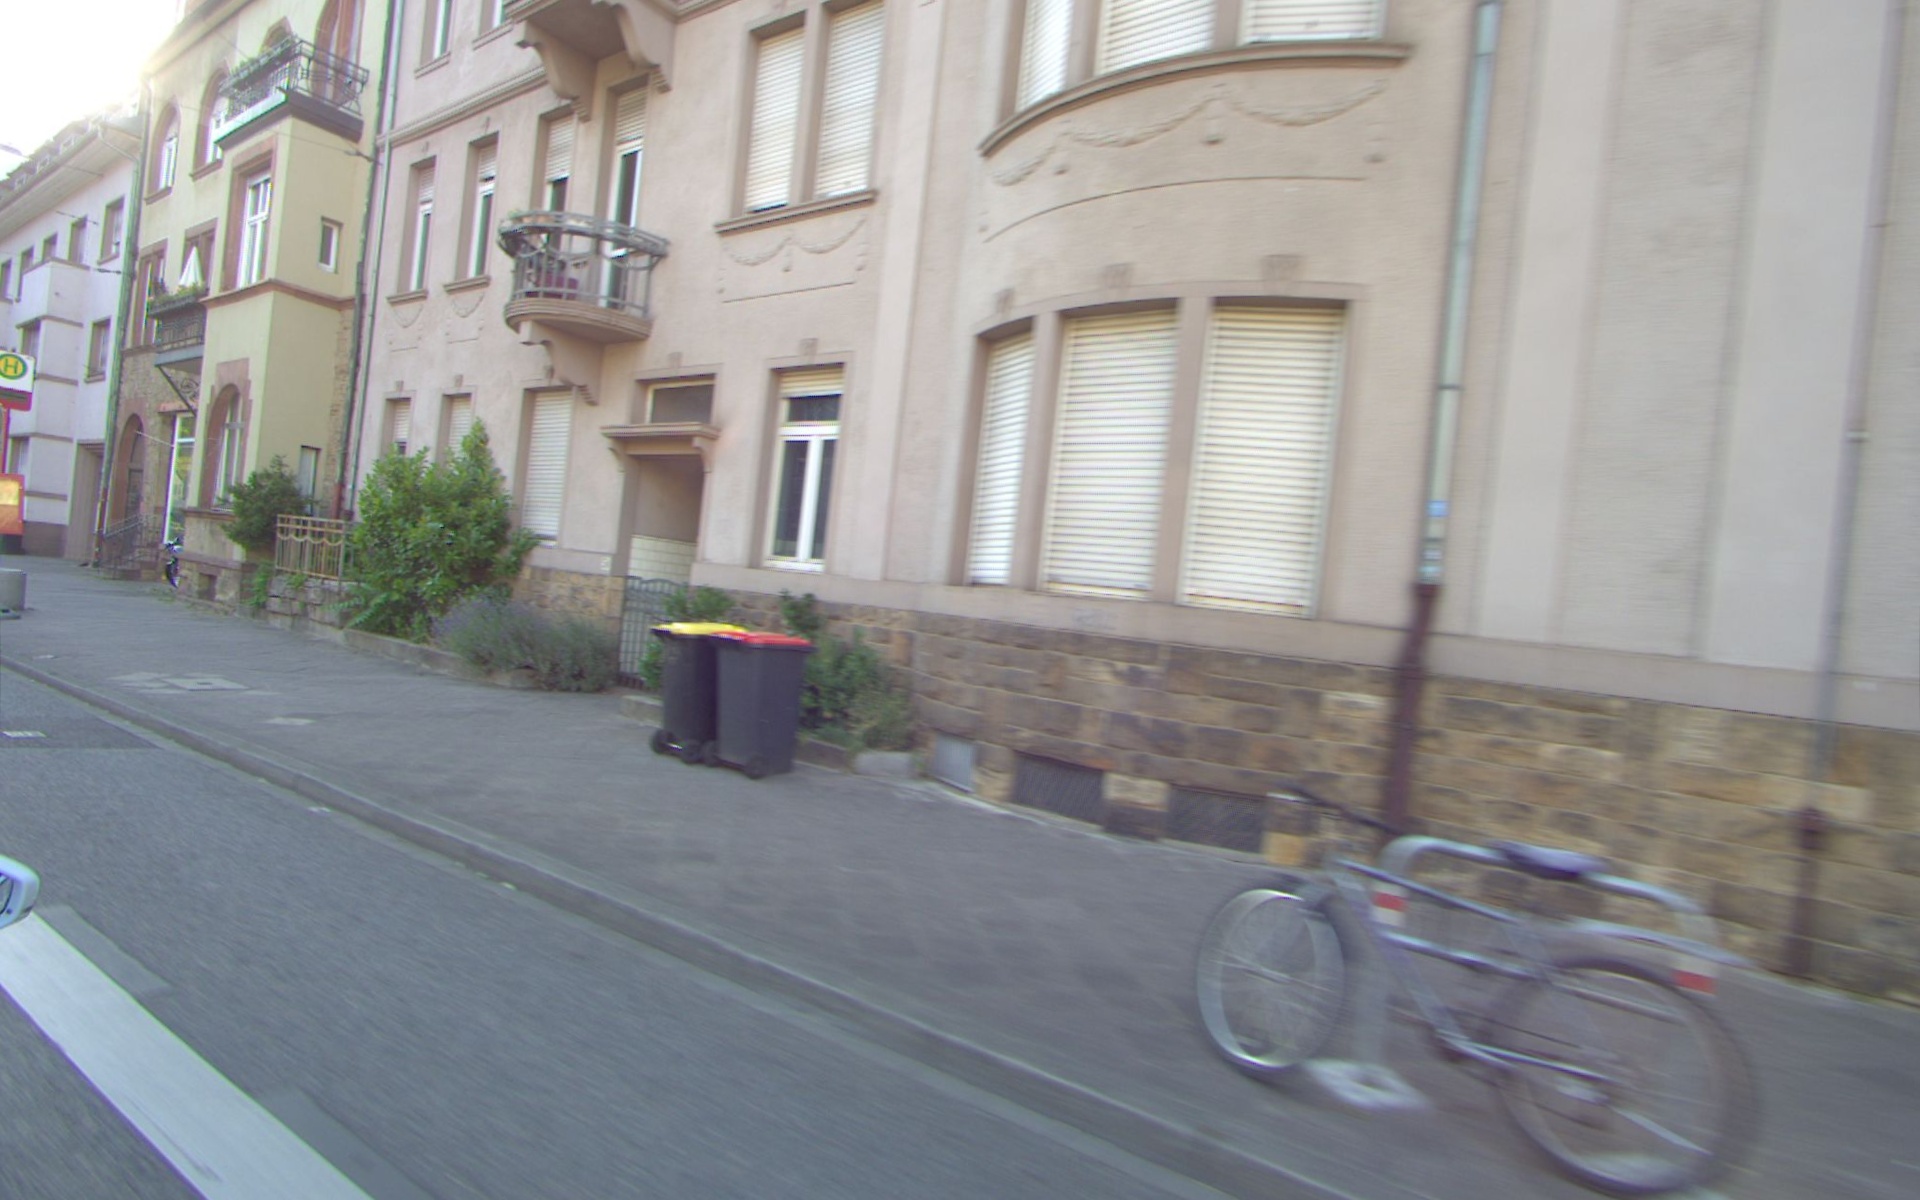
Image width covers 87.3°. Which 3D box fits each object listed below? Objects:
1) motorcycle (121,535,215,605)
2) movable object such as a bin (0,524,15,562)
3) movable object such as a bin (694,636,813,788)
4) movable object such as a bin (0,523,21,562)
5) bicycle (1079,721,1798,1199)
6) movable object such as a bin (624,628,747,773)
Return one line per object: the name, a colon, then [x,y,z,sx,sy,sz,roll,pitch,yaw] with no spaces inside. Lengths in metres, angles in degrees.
motorcycle: [-15.140,-0.593,19.207,2.465,1.151,0.590,5,-1,33]
movable object such as a bin: [-25.589,-1.546,26.727,0.576,0.981,0.553,5,-1,38]
movable object such as a bin: [-1.591,0.848,7.730,0.567,1.059,0.652,6,-1,-41]
movable object such as a bin: [-25.106,-1.515,26.385,0.576,0.981,0.553,5,-1,38]
bicycle: [1.396,1.097,3.265,1.901,1.112,0.437,6,0,33]
movable object such as a bin: [-2.206,0.800,8.077,0.653,1.059,0.652,6,-1,-41]
